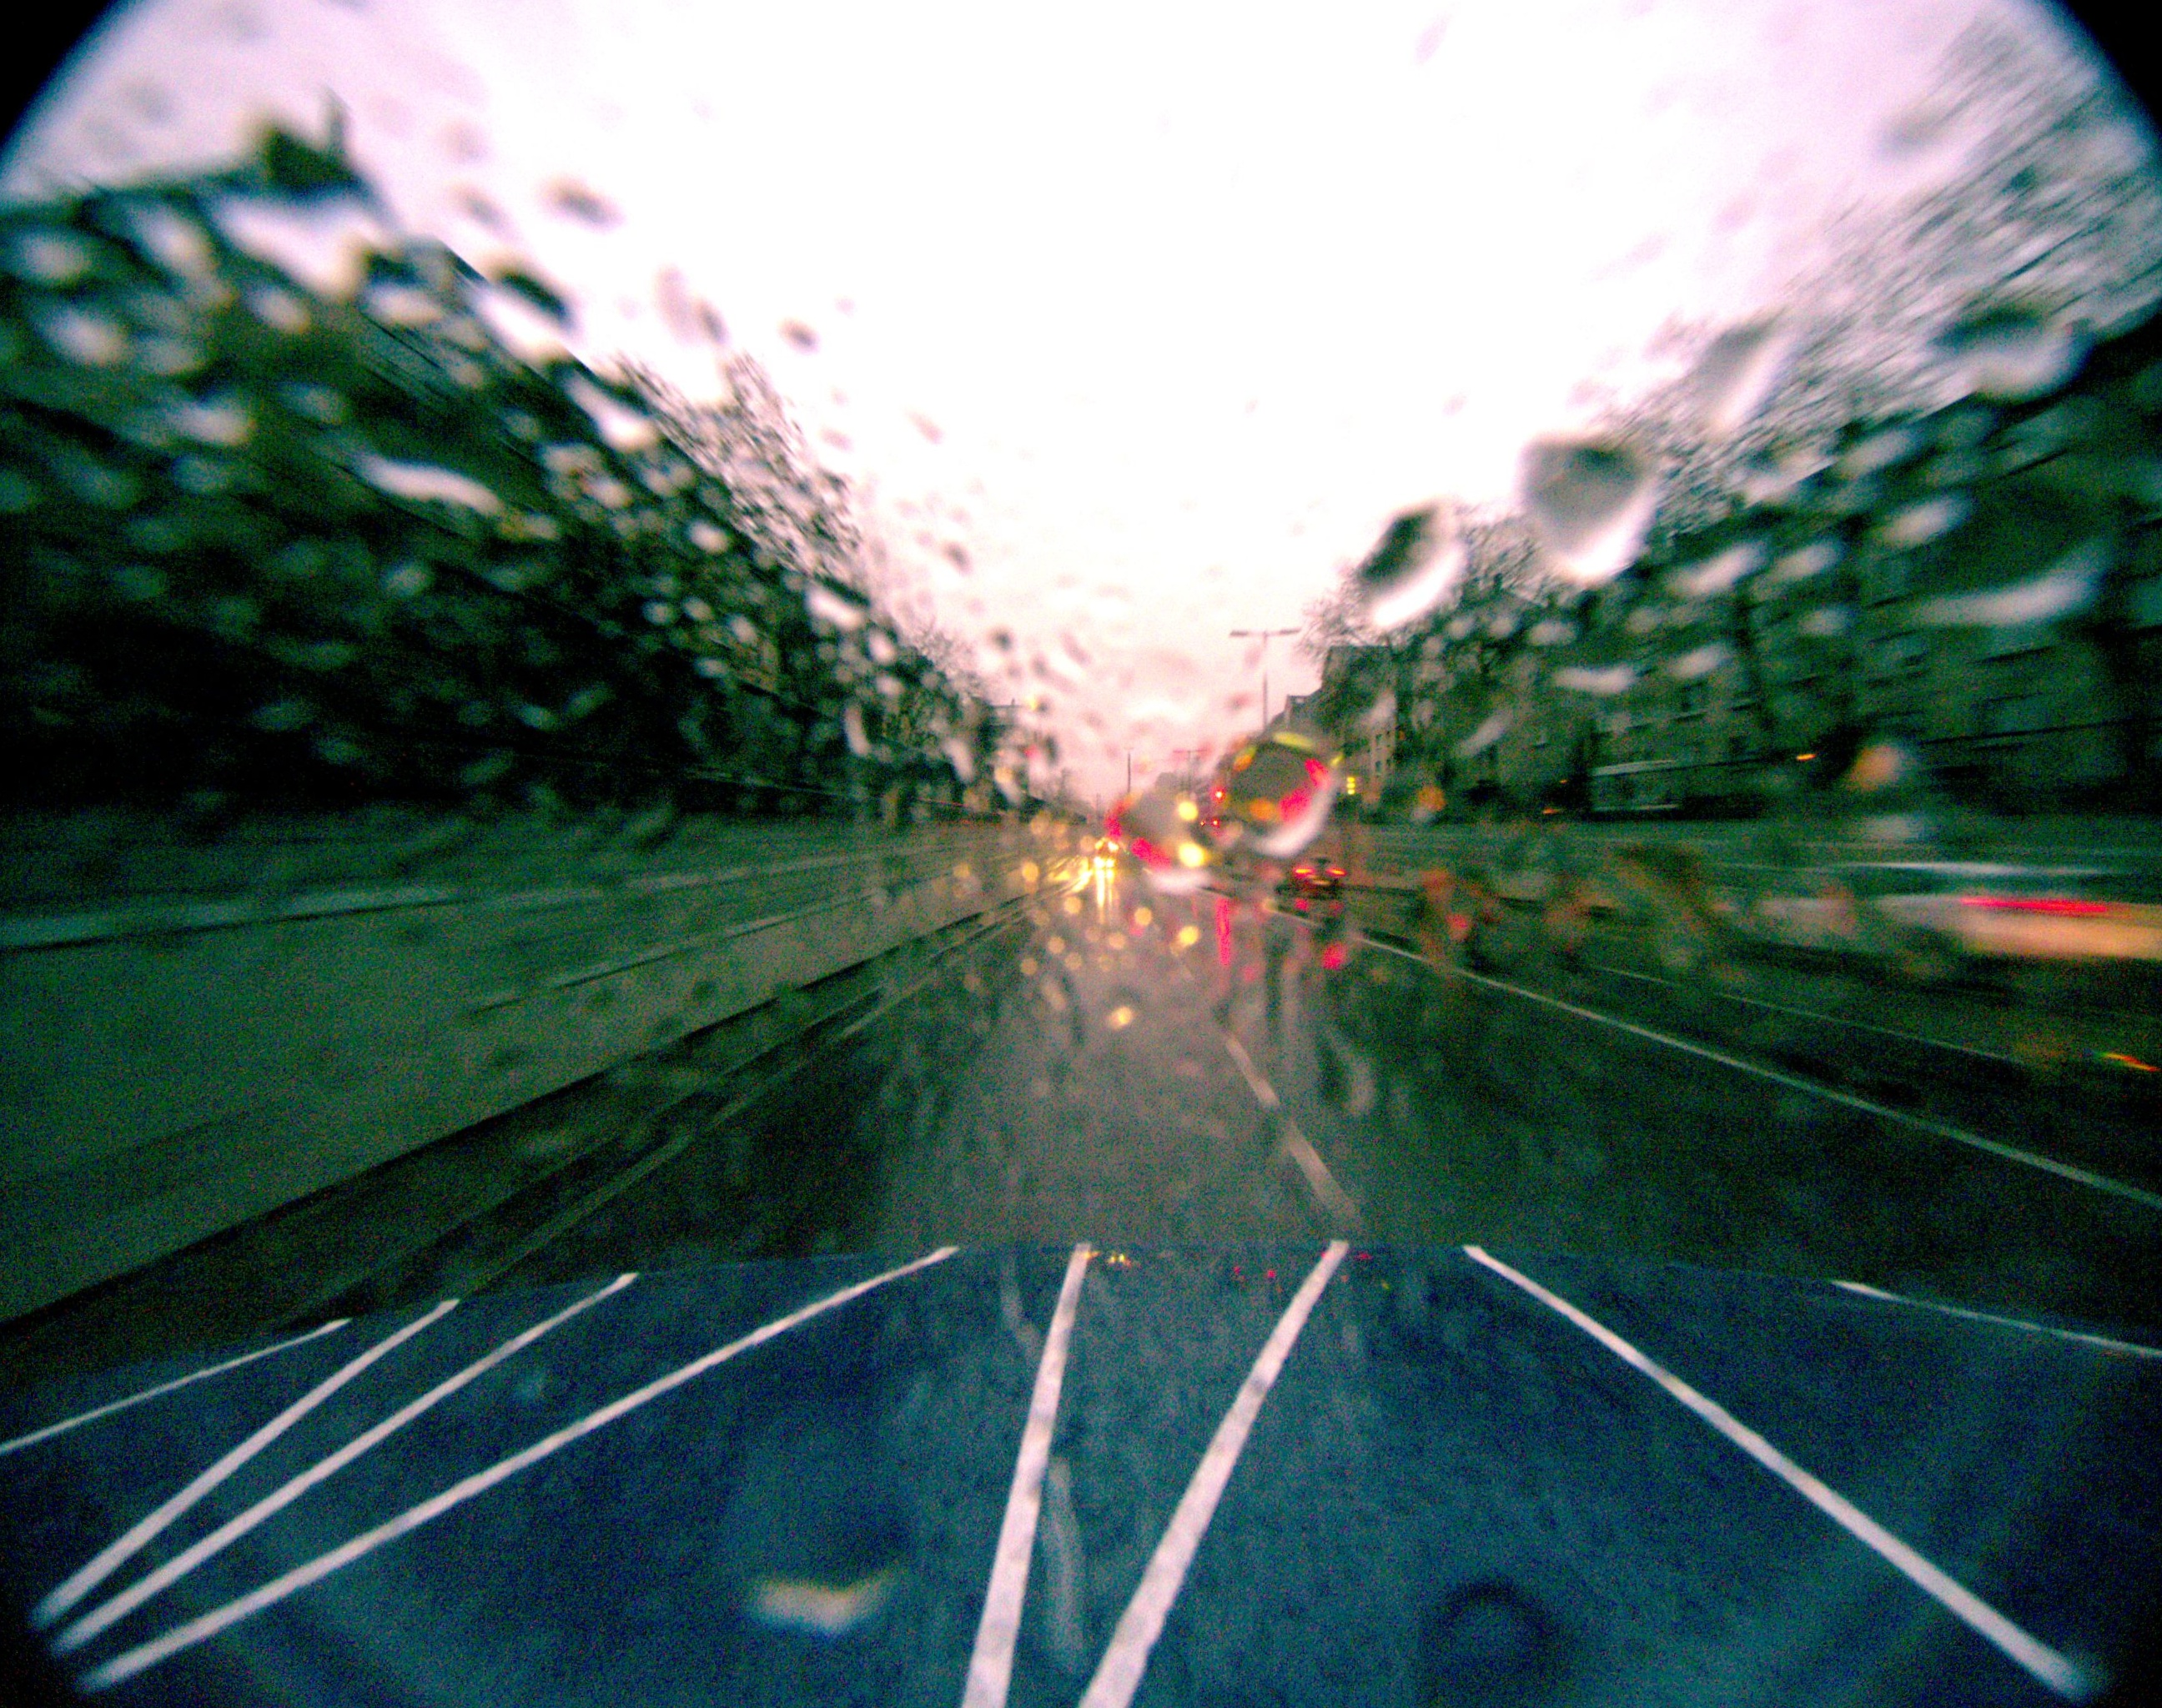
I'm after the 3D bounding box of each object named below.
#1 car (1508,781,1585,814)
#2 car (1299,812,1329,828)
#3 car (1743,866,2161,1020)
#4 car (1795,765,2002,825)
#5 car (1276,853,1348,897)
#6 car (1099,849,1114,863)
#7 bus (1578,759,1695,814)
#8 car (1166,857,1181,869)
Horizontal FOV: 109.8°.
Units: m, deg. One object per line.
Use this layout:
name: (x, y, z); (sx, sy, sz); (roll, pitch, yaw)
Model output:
car: (23.153, -2.793, 37.974); (1.569, 1.464, 3.877); (1, 2, 2)
car: (20.101, -2.915, 65.656); (1.569, 1.389, 3.405); (1, 2, 2)
car: (10.731, 0.916, 9.456); (1.678, 1.482, 3.875); (1, 0, 2)
car: (22.408, -1.568, 21.075); (1.569, 1.464, 3.877); (1, 2, 1)
car: (8.916, 0.790, 29.581); (1.789, 1.583, 3.842); (1, 0, 3)
car: (3.934, 0.295, 117.917); (2.031, 2.018, 4.423); (-3, 2, 0)
bus: (21.229, -2.534, 29.250); (1.699, 1.860, 4.064); (1, 2, 4)
car: (11.533, 1.121, 94.663); (1.575, 1.462, 3.687); (-1, 0, 2)
